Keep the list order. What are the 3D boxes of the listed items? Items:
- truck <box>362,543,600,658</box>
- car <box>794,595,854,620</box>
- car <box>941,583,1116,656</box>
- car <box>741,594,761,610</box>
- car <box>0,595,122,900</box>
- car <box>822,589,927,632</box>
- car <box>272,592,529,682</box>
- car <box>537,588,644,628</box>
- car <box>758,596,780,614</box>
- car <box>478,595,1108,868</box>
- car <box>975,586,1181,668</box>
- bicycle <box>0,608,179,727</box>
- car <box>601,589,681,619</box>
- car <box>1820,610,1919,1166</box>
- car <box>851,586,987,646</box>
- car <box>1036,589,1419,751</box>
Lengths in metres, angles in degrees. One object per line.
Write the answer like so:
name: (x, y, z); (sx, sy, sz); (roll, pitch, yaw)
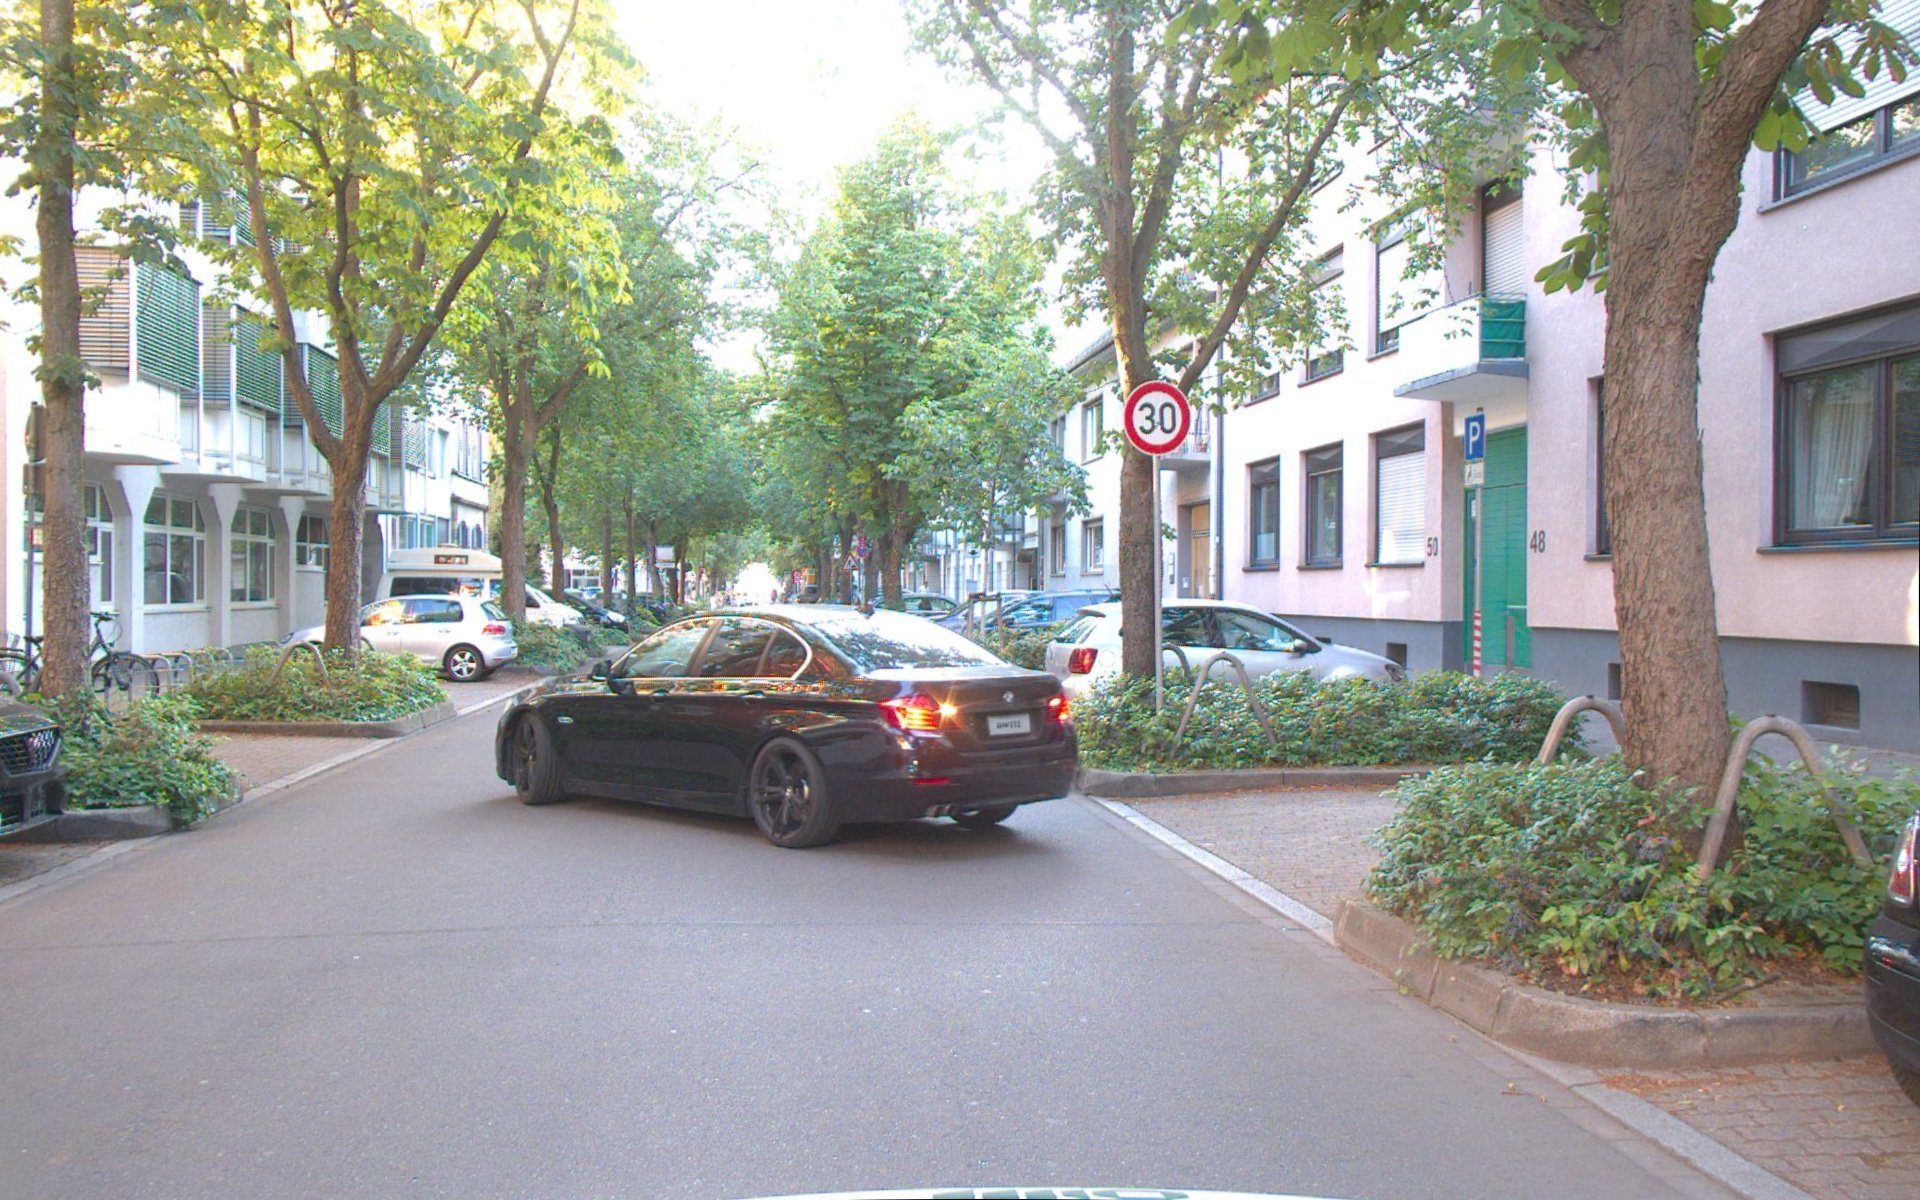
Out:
truck: (-10.835, -0.006, 37.688); (4.903, 2.483, 1.914); (1, 1, -6)
car: (-8.379, 0.452, 101.685); (3.589, 1.417, 1.562); (-1, 0, -9)
car: (1.521, 0.416, 37.400); (3.722, 1.556, 1.562); (-1, 0, -9)
car: (-20.745, 0.211, 163.964); (1.858, 1.500, 3.995); (0, 0, -6)
car: (-7.077, 0.724, 8.781); (4.274, 1.535, 1.832); (1, 0, -8)
car: (-3.044, 0.359, 58.530); (3.589, 1.417, 1.562); (-1, 0, -9)
car: (-9.885, 0.640, 29.456); (4.054, 1.497, 1.637); (1, 0, -8)
car: (-14.533, 0.316, 65.271); (3.945, 1.497, 1.637); (1, 0, -8)
car: (-17.265, 0.425, 149.462); (1.956, 1.579, 3.994); (0, 0, -7)
car: (-1.323, 0.711, 11.288); (4.588, 1.475, 1.756); (0, 0, 44)
car: (2.176, 0.476, 30.873); (3.589, 1.417, 1.562); (-1, 0, -9)
bicycle: (-9.362, 0.696, 17.494); (1.939, 1.220, 0.499); (0, 0, -18)
car: (-16.584, 0.199, 86.055); (3.945, 1.497, 1.637); (1, 0, -8)
car: (4.387, 0.691, 4.260); (3.638, 1.452, 1.622); (-3, 1, -12)
car: (-1.158, 0.420, 45.829); (3.589, 1.563, 1.562); (-1, 0, -9)
car: (2.694, 0.669, 17.006); (3.589, 1.505, 1.562); (-1, 0, -9)
